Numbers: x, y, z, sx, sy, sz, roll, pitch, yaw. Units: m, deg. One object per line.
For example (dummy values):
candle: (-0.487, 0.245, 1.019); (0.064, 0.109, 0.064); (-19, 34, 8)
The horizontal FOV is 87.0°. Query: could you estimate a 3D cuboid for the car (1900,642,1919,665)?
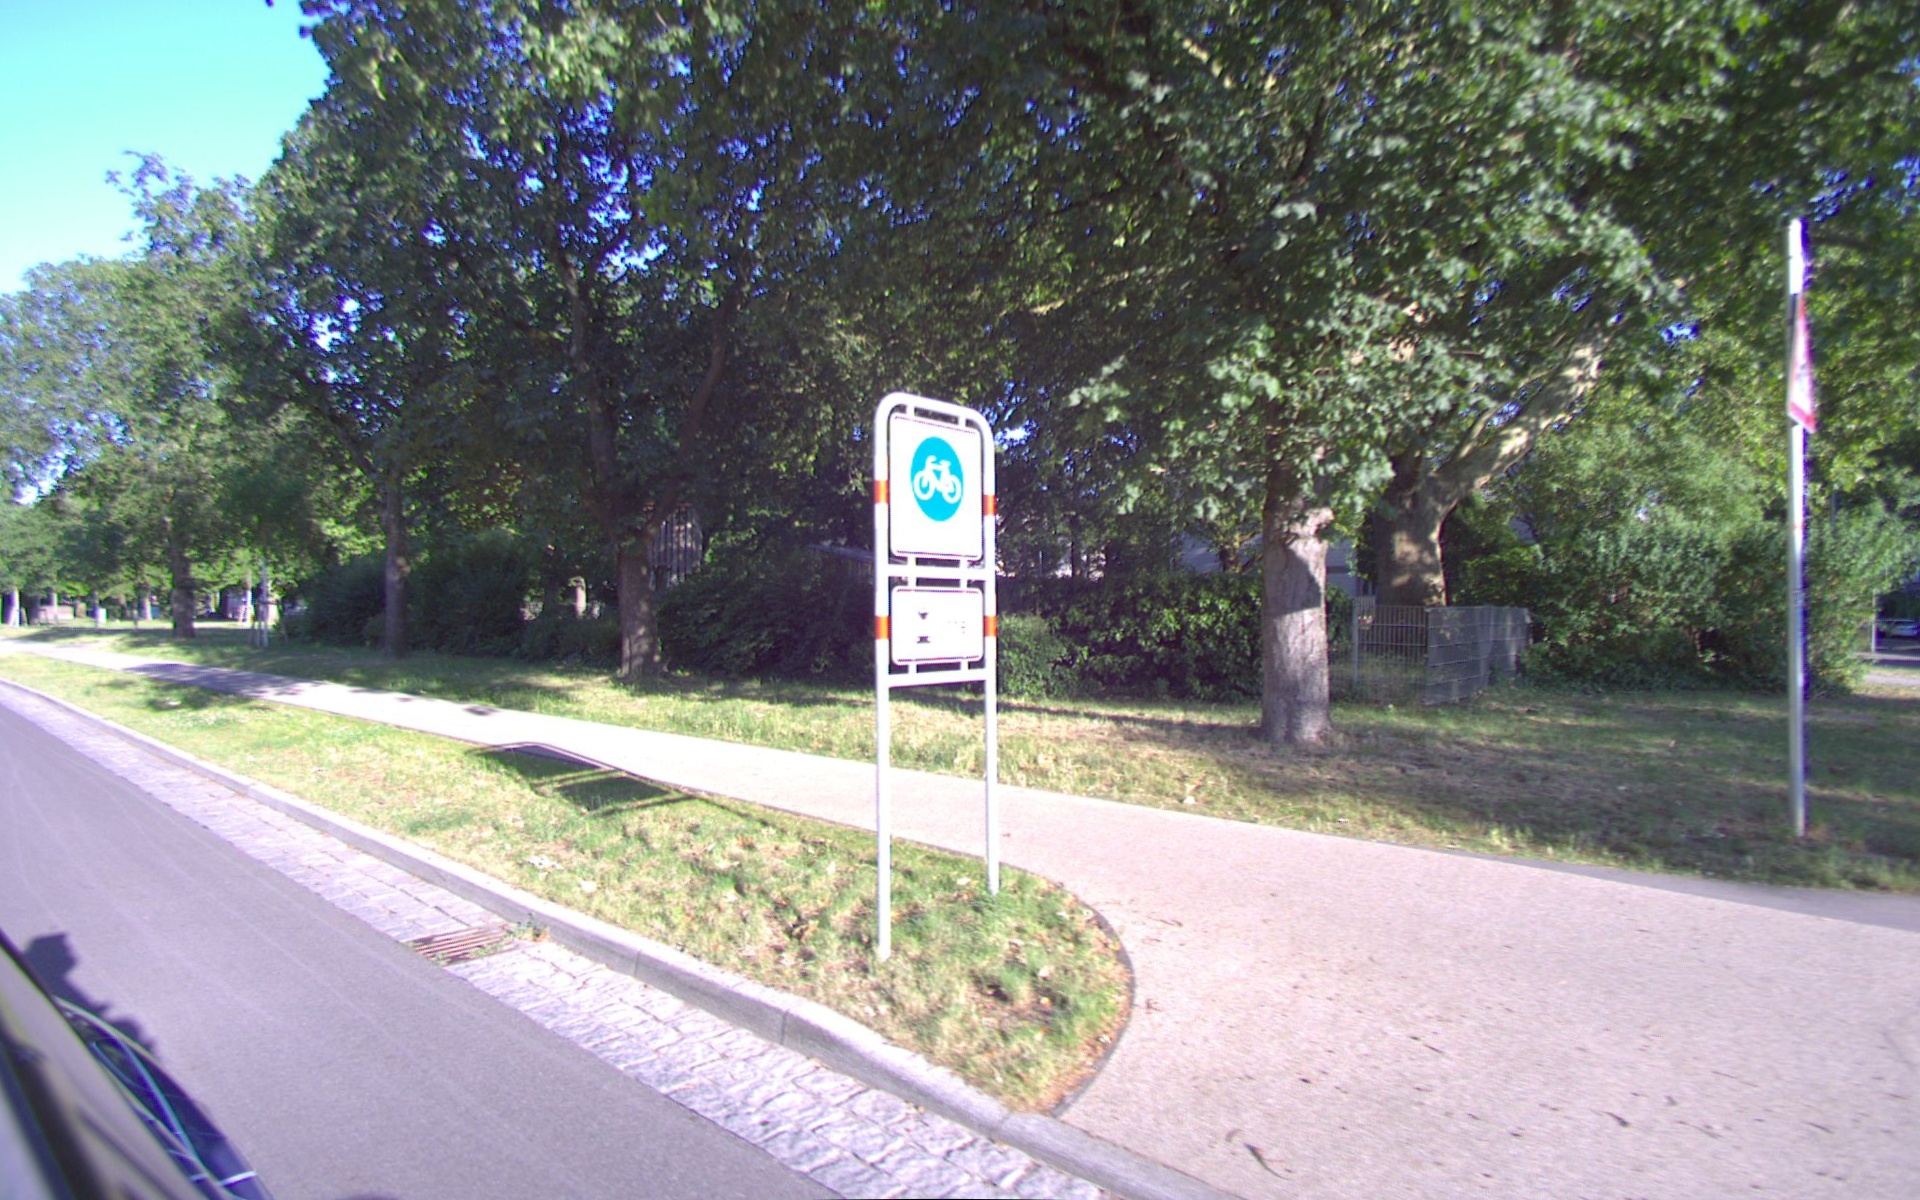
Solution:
car: (70.054, 3.881, 73.869); (1.831, 1.567, 3.948); (-1, -2, 39)
